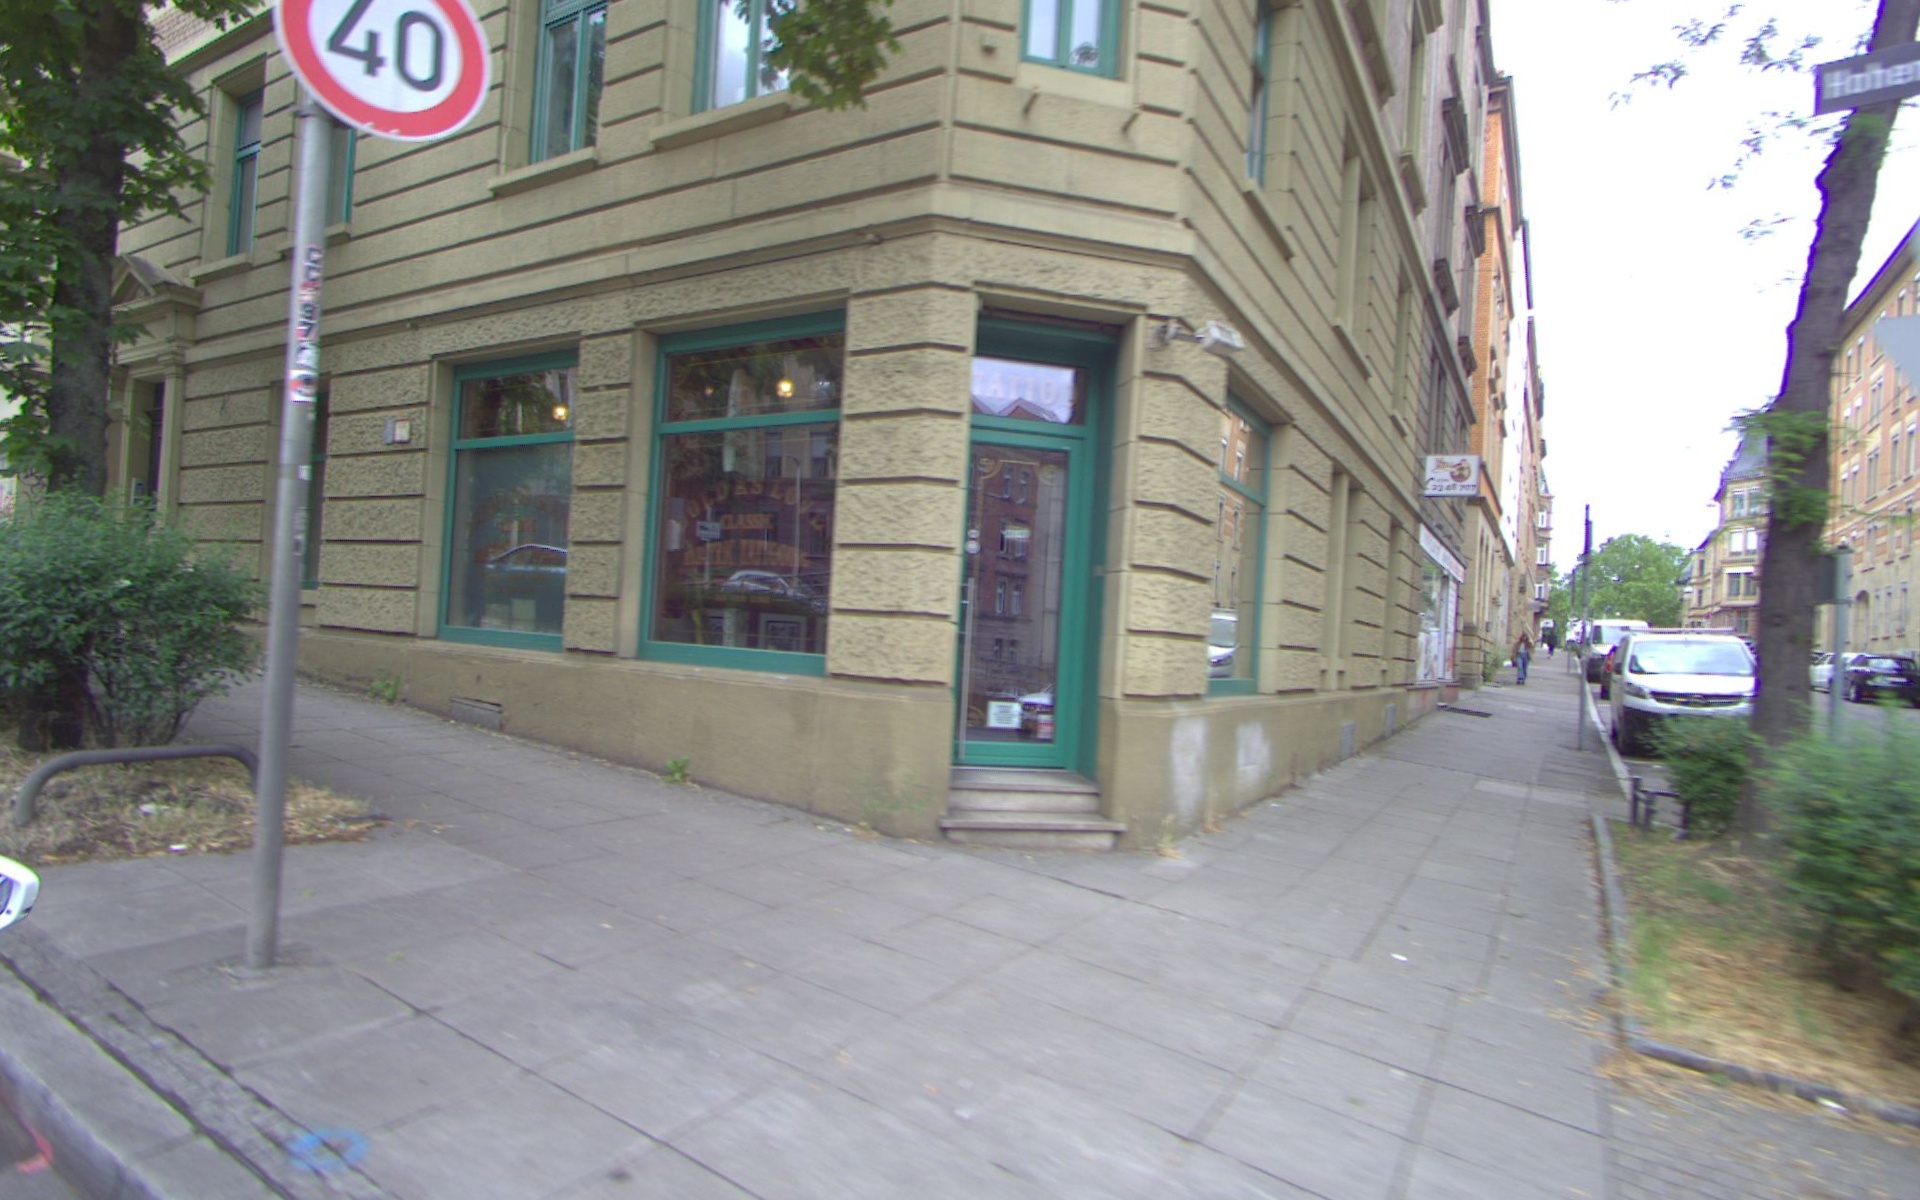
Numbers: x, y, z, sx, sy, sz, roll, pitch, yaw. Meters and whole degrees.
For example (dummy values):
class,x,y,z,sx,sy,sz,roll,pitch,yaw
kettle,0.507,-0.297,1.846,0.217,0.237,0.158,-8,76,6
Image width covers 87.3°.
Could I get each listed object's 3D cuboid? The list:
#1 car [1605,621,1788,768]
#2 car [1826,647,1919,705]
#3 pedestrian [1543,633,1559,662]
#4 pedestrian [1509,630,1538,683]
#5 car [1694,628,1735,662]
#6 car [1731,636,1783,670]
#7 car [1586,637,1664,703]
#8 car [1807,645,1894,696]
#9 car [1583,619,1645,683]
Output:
class,x,y,z,sx,sy,sz,roll,pitch,yaw
car,12.060,1.424,16.812,1.951,2.038,5.248,0,-2,31
car,28.576,2.324,31.443,1.616,1.529,3.858,4,1,32
pedestrian,32.924,2.640,56.007,0.576,1.556,0.581,7,-1,34
pedestrian,17.665,1.769,31.532,0.576,1.556,0.581,7,-1,34
car,51.030,3.039,68.116,1.695,2.041,3.986,7,2,32
car,41.085,2.691,51.935,1.616,1.529,3.858,4,1,32
car,19.313,1.978,29.338,1.649,1.600,3.424,5,2,31
car,31.486,2.432,35.678,1.616,1.529,3.858,4,1,32
car,24.016,1.819,37.008,1.649,2.115,3.424,5,2,31
